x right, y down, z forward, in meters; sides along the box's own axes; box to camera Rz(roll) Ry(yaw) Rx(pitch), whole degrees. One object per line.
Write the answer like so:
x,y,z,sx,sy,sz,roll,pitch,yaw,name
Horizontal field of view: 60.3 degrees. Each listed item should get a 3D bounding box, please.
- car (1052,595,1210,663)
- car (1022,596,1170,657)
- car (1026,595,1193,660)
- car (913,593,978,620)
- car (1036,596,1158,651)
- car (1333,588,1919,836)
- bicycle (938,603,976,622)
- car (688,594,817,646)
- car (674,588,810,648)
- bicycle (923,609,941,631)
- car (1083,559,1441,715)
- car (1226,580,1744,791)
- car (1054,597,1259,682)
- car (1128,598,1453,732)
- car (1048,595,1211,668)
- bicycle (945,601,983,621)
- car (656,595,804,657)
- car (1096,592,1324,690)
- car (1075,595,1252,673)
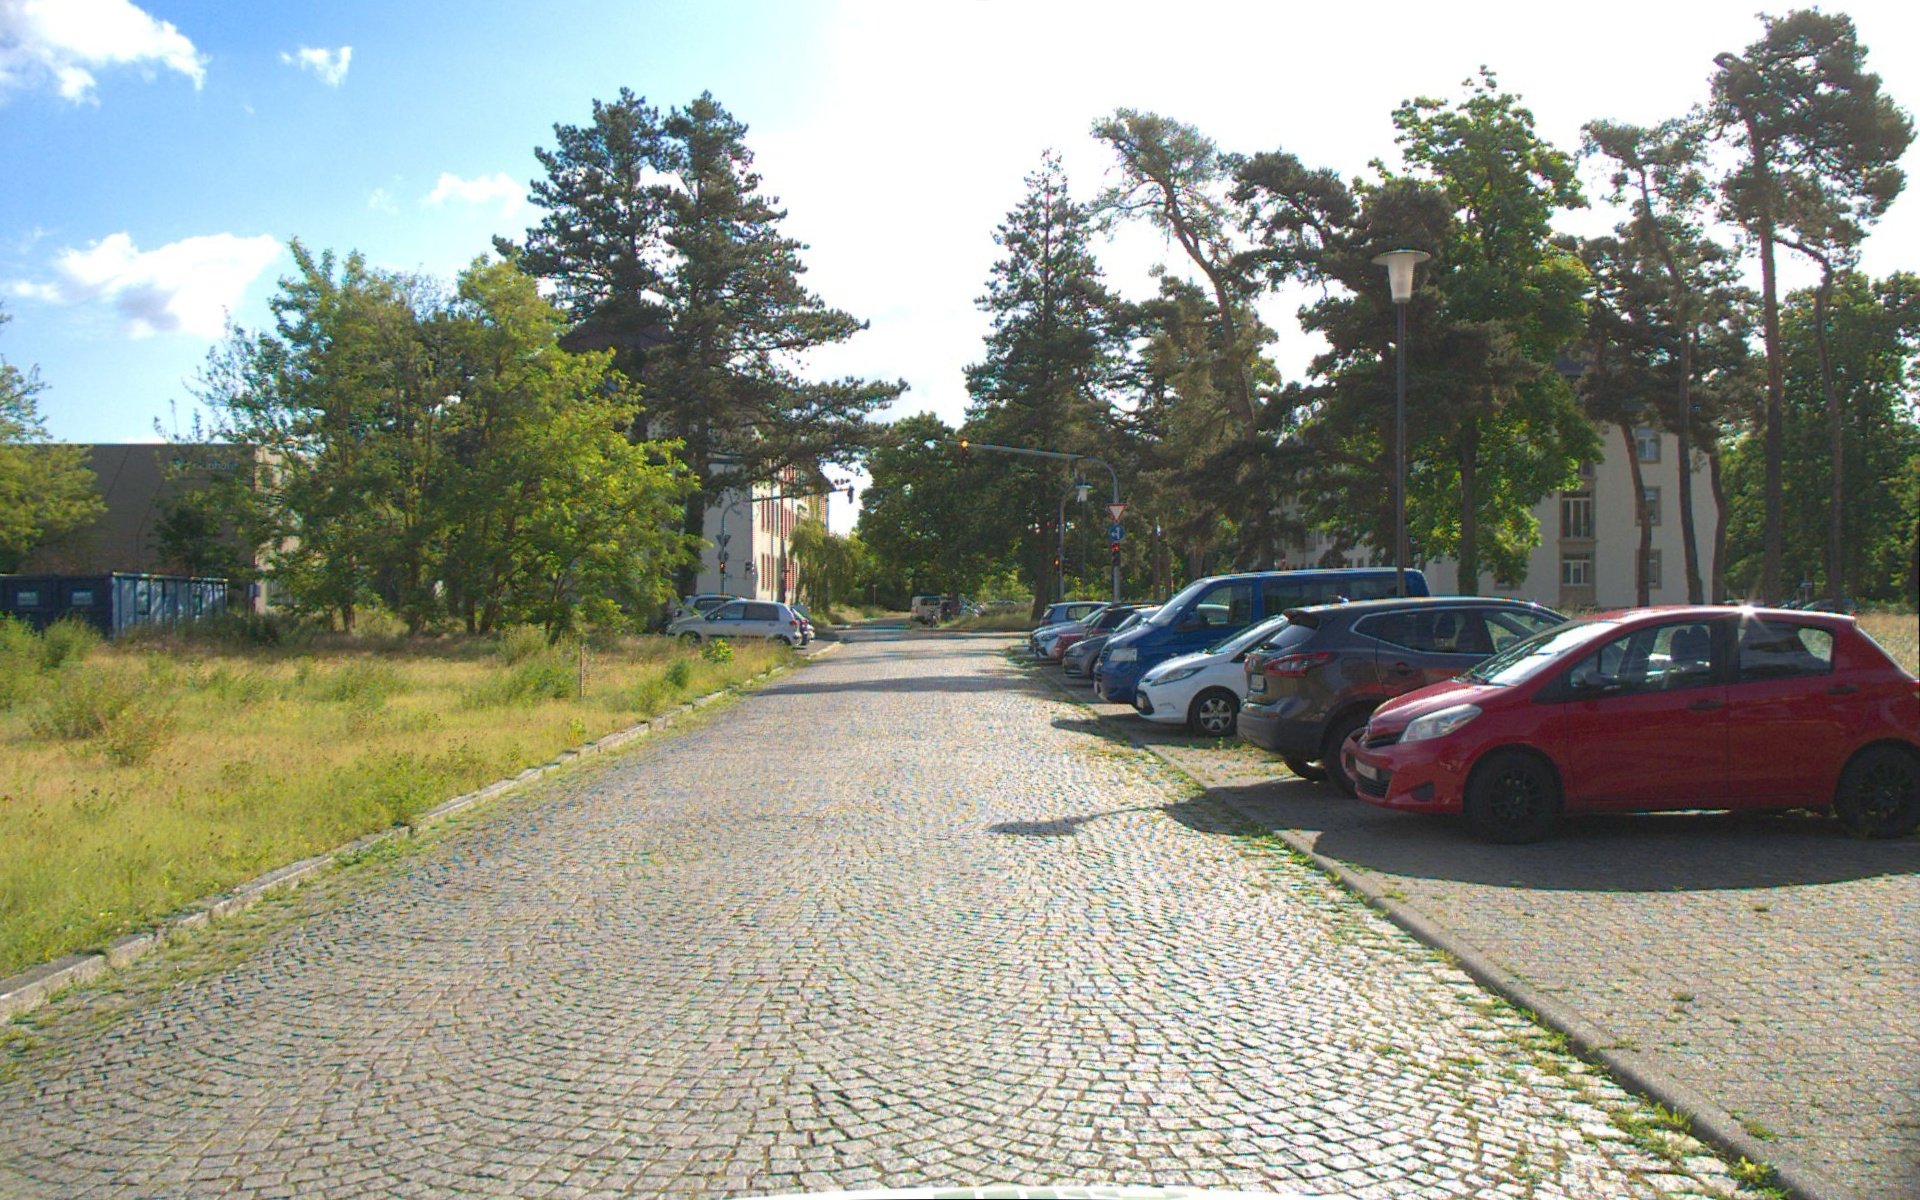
4.031,0.672,39.361,3.530,1.556,1.645,0,0,-3,car
3.604,0.687,44.202,3.759,1.556,1.645,0,0,-3,car
3.709,0.669,41.433,3.955,1.556,1.644,0,0,-5,car
-1.011,0.438,113.208,4.390,1.758,1.999,0,0,-2,car
3.849,0.657,46.848,3.276,1.508,1.645,0,0,-3,car
4.630,0.711,11.465,3.687,1.557,1.645,0,0,-3,car
-0.173,0.731,95.753,2.134,1.119,0.805,0,0,-11,bicycle
-6.677,0.645,53.627,3.907,1.478,1.999,3,0,-2,car
-6.699,0.546,51.226,3.907,1.629,1.999,3,0,-2,car
-1.576,1.116,92.260,0.789,1.190,2.177,-2,0,-7,bicycle
4.144,0.485,23.227,4.585,2.049,2.082,0,0,-4,car
4.363,0.675,14.133,3.857,1.650,1.771,0,0,-3,car
3.672,0.723,31.281,3.601,1.493,1.645,-1,0,-3,car
4.035,0.773,20.545,3.645,1.514,1.644,-1,0,-4,car
3.744,0.678,36.894,3.408,1.556,1.645,0,0,-3,car
0.252,0.652,96.933,2.134,1.119,0.805,0,0,-11,bicycle
-6.317,0.701,45.844,3.908,1.628,1.998,0,0,-4,car
4.236,0.677,28.406,3.619,1.491,1.645,-2,0,-1,car
4.171,0.684,34.211,3.408,1.556,1.645,0,0,-3,car
